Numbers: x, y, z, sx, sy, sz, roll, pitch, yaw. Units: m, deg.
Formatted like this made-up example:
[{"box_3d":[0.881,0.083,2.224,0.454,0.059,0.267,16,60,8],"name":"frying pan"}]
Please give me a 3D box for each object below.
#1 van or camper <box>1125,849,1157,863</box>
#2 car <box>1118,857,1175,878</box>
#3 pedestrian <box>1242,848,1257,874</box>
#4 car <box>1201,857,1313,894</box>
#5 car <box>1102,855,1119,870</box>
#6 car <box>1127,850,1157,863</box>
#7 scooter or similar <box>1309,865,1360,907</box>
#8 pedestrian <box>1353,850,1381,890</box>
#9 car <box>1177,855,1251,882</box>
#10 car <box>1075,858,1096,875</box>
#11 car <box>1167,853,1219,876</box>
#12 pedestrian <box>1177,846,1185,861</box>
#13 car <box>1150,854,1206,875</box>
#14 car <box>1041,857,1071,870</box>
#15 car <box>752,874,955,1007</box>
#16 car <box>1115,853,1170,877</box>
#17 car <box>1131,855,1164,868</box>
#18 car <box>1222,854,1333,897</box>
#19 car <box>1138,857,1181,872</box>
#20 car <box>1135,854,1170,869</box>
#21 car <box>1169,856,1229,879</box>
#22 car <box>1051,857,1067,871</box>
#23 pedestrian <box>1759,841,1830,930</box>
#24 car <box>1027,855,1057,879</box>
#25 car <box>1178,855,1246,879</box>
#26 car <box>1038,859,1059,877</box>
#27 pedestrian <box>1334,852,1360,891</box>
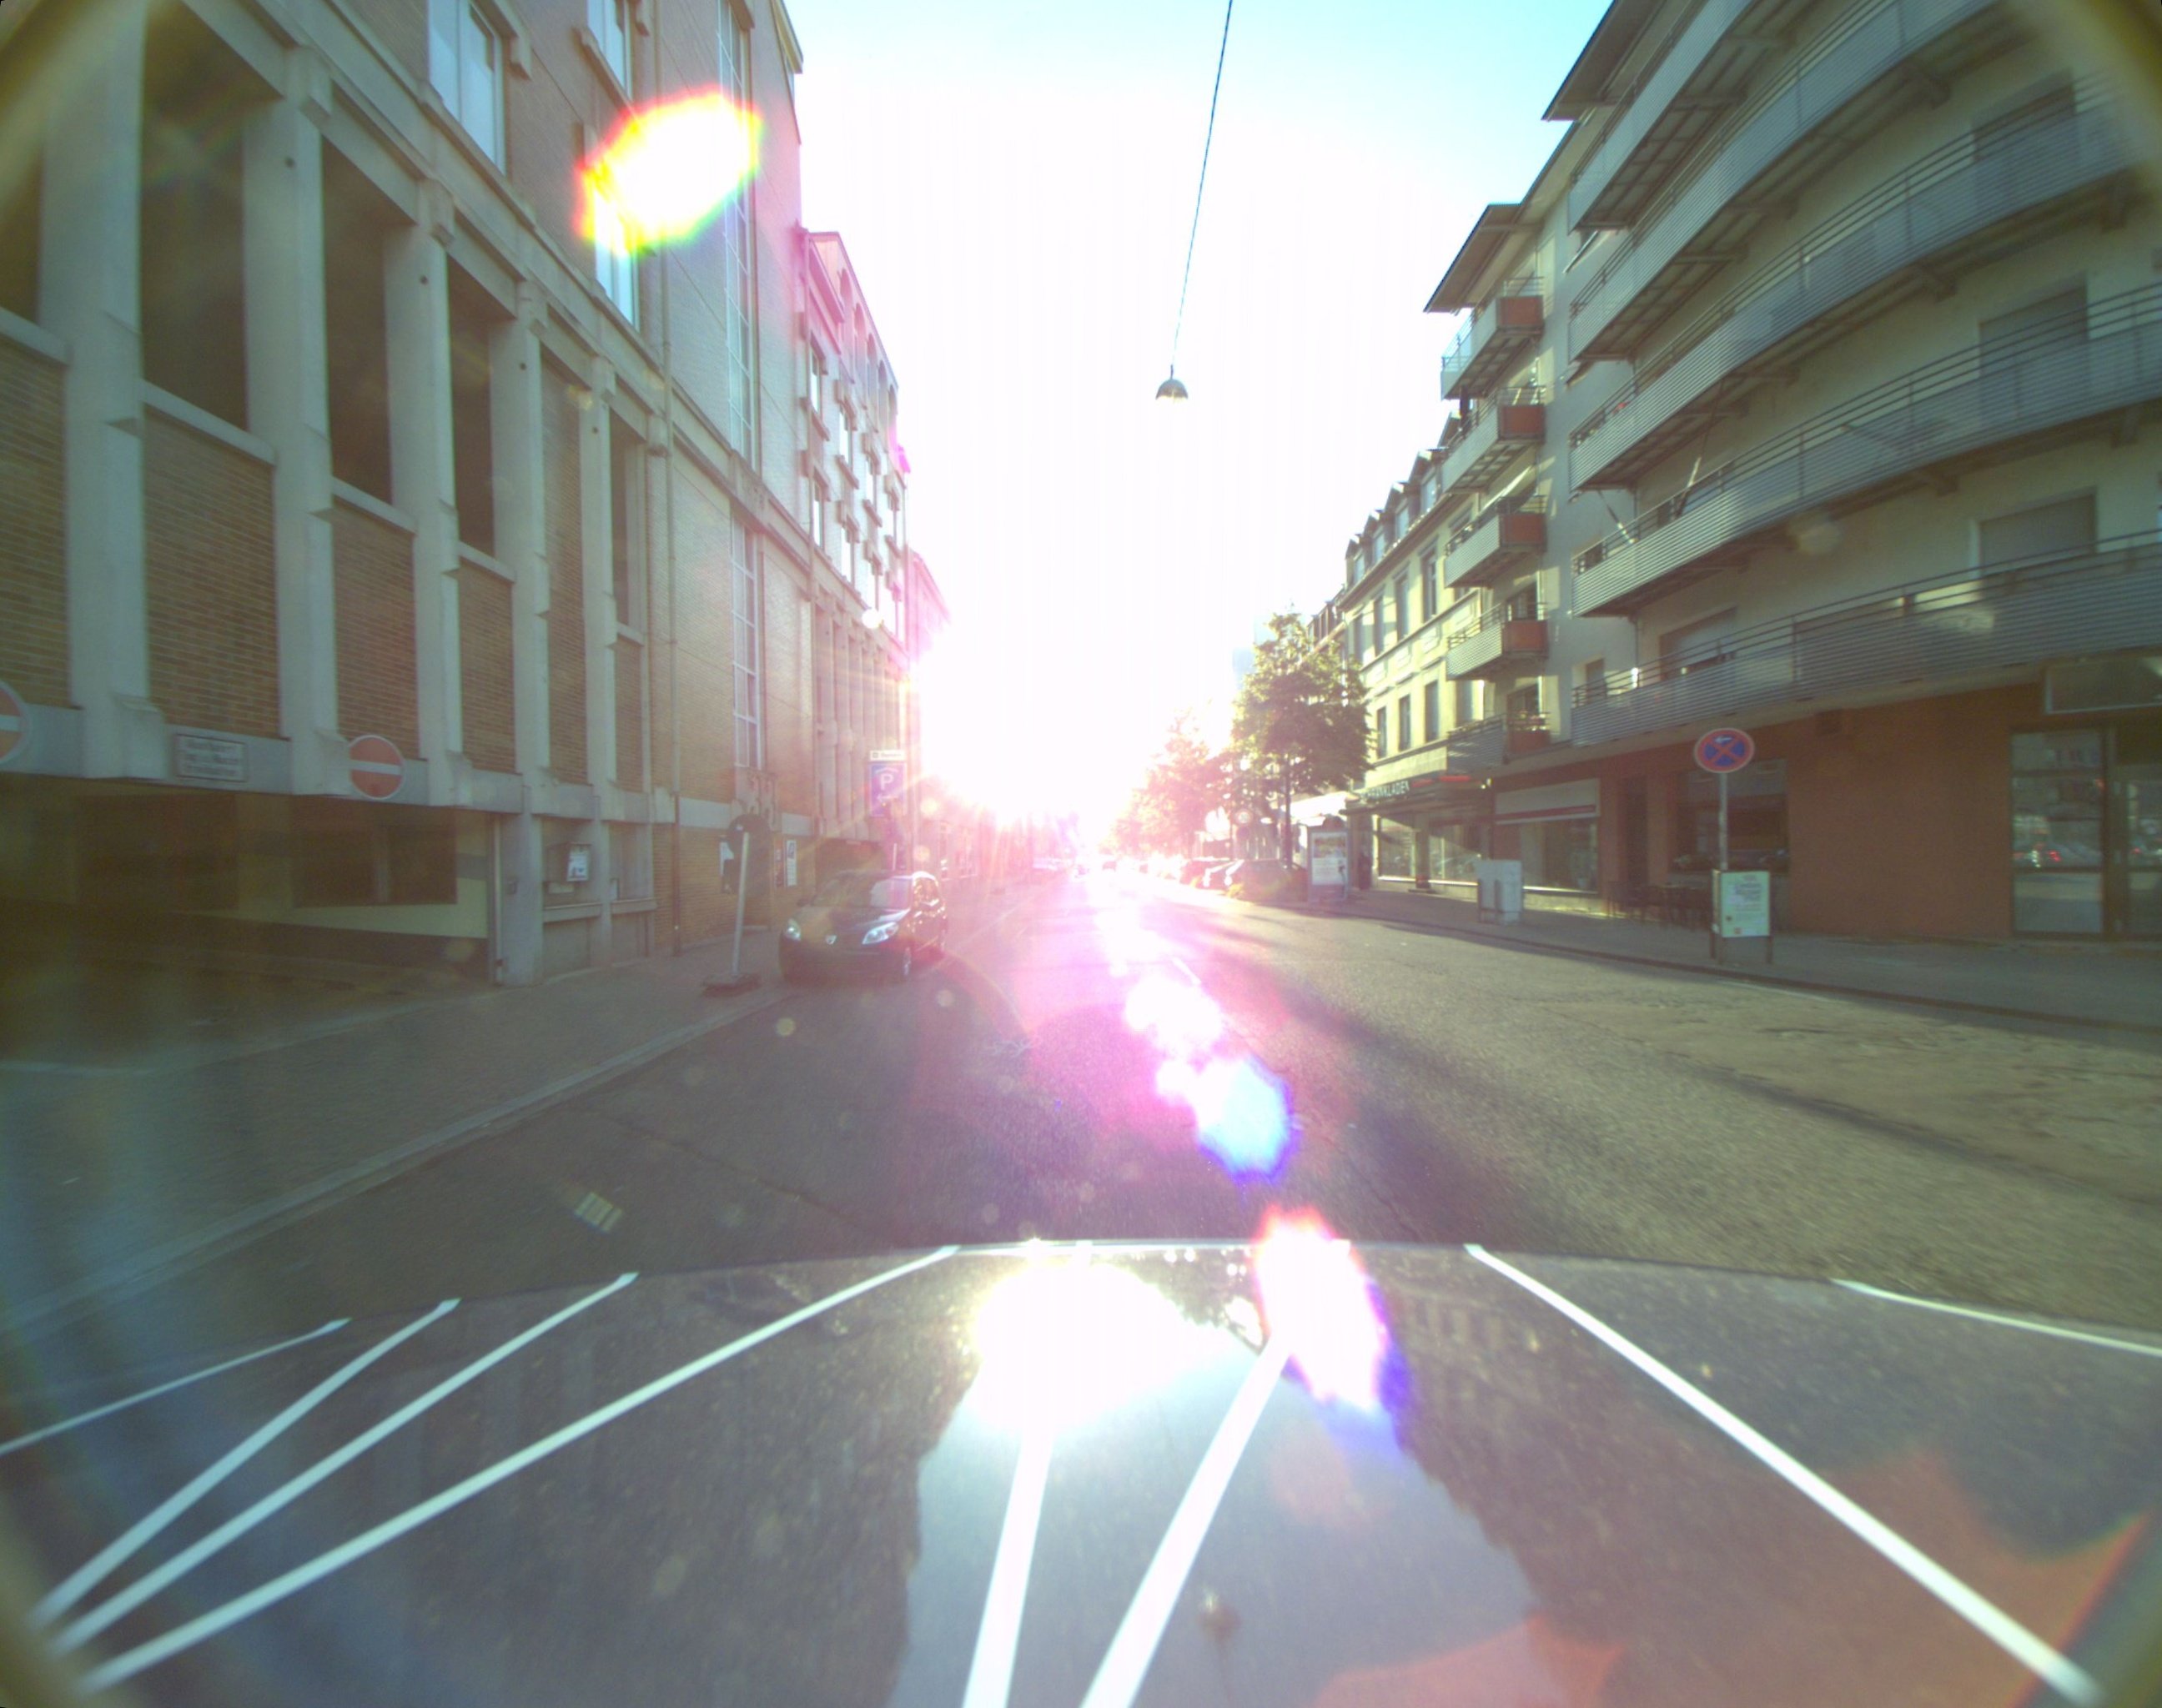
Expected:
[{"box_3d":[8.642,0.303,109.971,4.469,1.945,1.789,-2,0,2],"name":"van or camper"},{"box_3d":[5.065,1.020,58.717,4.160,1.413,1.766,-3,0,-2],"name":"car"},{"box_3d":[11.419,0.477,51.606,0.774,1.712,0.875,-3,2,1],"name":"pedestrian"},{"box_3d":[7.848,0.936,34.140,4.582,1.399,1.821,-3,0,-1],"name":"car"},{"box_3d":[3.517,1.082,92.667,1.866,1.682,4.461,-1,-1,0],"name":"car"},{"box_3d":[8.582,0.386,106.949,4.193,1.659,1.732,-2,1,3],"name":"car"},{"box_3d":[7.981,0.997,23.950,1.402,1.219,0.525,-2,1,-3],"name":"scooter or similar"},{"box_3d":[11.703,0.643,31.121,0.774,1.599,0.875,-3,2,1],"name":"pedestrian"},{"box_3d":[8.148,0.868,46.694,4.117,1.395,1.884,-3,0,-2],"name":"car"},{"box_3d":[0.454,1.135,71.630,1.825,1.469,4.155,-2,0,1],"name":"car"},{"box_3d":[8.283,0.791,56.338,3.565,1.493,1.716,-3,0,-1],"name":"car"},{"box_3d":[12.101,-0.103,92.070,0.721,1.739,0.934,-4,0,1],"name":"pedestrian"},{"box_3d":[8.110,0.887,63.939,4.417,1.586,1.890,-3,0,-1],"name":"car"},{"box_3d":[-2.990,1.159,91.677,1.661,1.574,3.632,-1,-1,42],"name":"car"},{"box_3d":[-3.183,1.136,11.533,1.763,1.527,4.000,1,0,1],"name":"car"},{"box_3d":[4.974,0.892,61.560,4.160,1.762,1.889,-3,0,-2],"name":"car"},{"box_3d":[8.360,0.930,95.433,3.876,1.448,1.744,-2,0,-2],"name":"car"},{"box_3d":[8.088,0.856,31.557,4.083,1.527,1.884,-3,0,0],"name":"car"},{"box_3d":[8.107,1.083,79.133,4.285,1.475,1.744,-2,0,1],"name":"car"},{"box_3d":[8.453,0.881,89.990,3.876,1.558,1.744,-2,0,-2],"name":"car"},{"box_3d":[8.130,0.919,52.416,3.748,1.435,1.805,-3,0,-2],"name":"car"},{"box_3d":[-2.397,1.092,83.380,1.695,1.534,3.553,0,0,0],"name":"car"},{"box_3d":[13.203,0.565,14.076,0.597,1.586,0.750,-1,2,2],"name":"pedestrian"},{"box_3d":[-2.988,0.983,59.074,2.043,1.727,4.711,0,0,1],"name":"car"},{"box_3d":[8.515,0.833,49.530,4.107,1.395,1.843,-2,0,2],"name":"car"},{"box_3d":[-2.787,1.161,66.030,1.734,1.479,3.899,0,0,-2],"name":"car"},{"box_3d":[10.905,0.724,31.166,0.736,1.519,0.875,-3,2,1],"name":"pedestrian"}]
